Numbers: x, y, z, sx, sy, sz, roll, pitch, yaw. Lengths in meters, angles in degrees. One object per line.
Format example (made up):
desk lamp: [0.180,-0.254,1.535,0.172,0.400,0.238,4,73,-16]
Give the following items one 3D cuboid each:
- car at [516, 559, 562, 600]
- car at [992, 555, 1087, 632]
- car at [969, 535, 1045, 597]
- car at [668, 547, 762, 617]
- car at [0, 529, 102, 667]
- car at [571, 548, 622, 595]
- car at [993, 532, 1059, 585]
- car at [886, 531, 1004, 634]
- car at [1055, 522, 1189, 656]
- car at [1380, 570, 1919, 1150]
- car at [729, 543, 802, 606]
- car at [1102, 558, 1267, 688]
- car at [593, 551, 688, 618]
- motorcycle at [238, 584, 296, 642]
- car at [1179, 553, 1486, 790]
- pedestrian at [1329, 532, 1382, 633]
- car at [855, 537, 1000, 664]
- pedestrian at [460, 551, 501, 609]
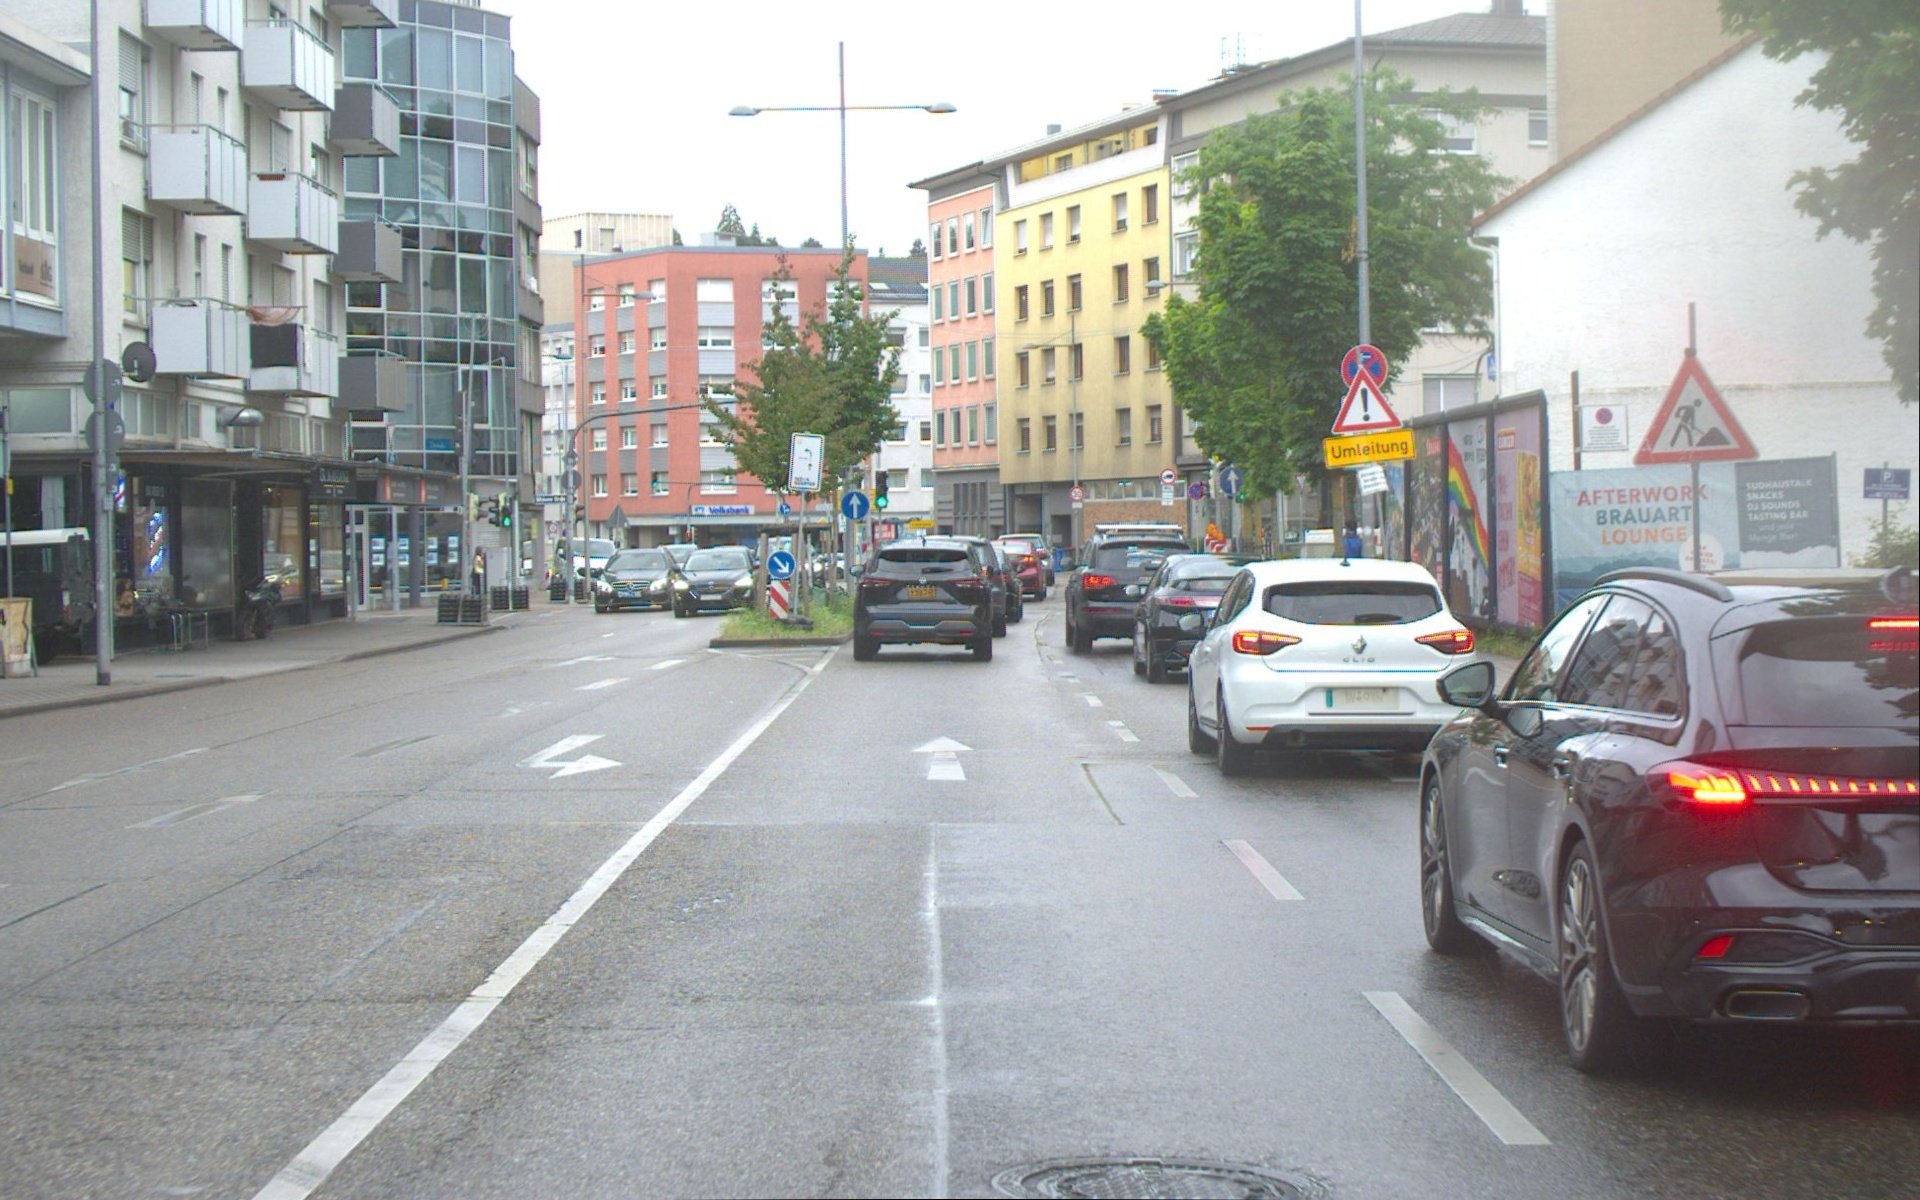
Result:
car: [-15.783,-0.786,128.902,1.455,1.425,3.371,1,1,-11]
car: [1.501,-0.137,65.956,1.641,1.376,3.348,-2,1,-1]
car: [1.095,-0.817,81.270,1.641,1.376,3.348,-2,1,-1]
car: [-5.417,-0.424,76.411,1.720,1.418,4.165,-3,1,0]
car: [-15.112,-0.025,51.726,3.963,2.027,1.580,-1,1,0]
car: [-12.407,-0.968,117.245,1.549,1.565,3.349,1,0,-9]
car: [1.786,-1.130,94.397,1.641,1.376,3.348,-2,1,-1]
car: [-0.215,-0.299,56.385,1.823,1.595,3.718,1,1,1]
car: [2.309,-0.195,49.492,1.830,1.799,3.718,1,2,2]
car: [2.570,0.643,11.068,1.789,1.398,4.634,-1,1,-1]
car: [-5.452,-0.737,96.748,1.683,1.655,4.096,-3,1,1]
car: [2.564,0.225,39.246,1.787,1.395,3.718,0,1,4]
car: [-7.696,-0.396,83.242,1.708,1.463,4.829,-3,1,1]
motorcycle: [-12.428,0.222,61.703,0.525,0.992,2.136,1,1,2]
car: [2.486,0.427,23.705,1.665,1.391,3.867,-1,2,0]
pedestrian: [7.027,-0.312,61.059,0.792,1.749,0.871,-2,1,14]
car: [-0.397,-0.019,46.169,1.823,1.595,3.718,1,1,1]
pedestrian: [-13.227,-0.552,94.801,0.781,1.585,0.763,-2,1,-36]
